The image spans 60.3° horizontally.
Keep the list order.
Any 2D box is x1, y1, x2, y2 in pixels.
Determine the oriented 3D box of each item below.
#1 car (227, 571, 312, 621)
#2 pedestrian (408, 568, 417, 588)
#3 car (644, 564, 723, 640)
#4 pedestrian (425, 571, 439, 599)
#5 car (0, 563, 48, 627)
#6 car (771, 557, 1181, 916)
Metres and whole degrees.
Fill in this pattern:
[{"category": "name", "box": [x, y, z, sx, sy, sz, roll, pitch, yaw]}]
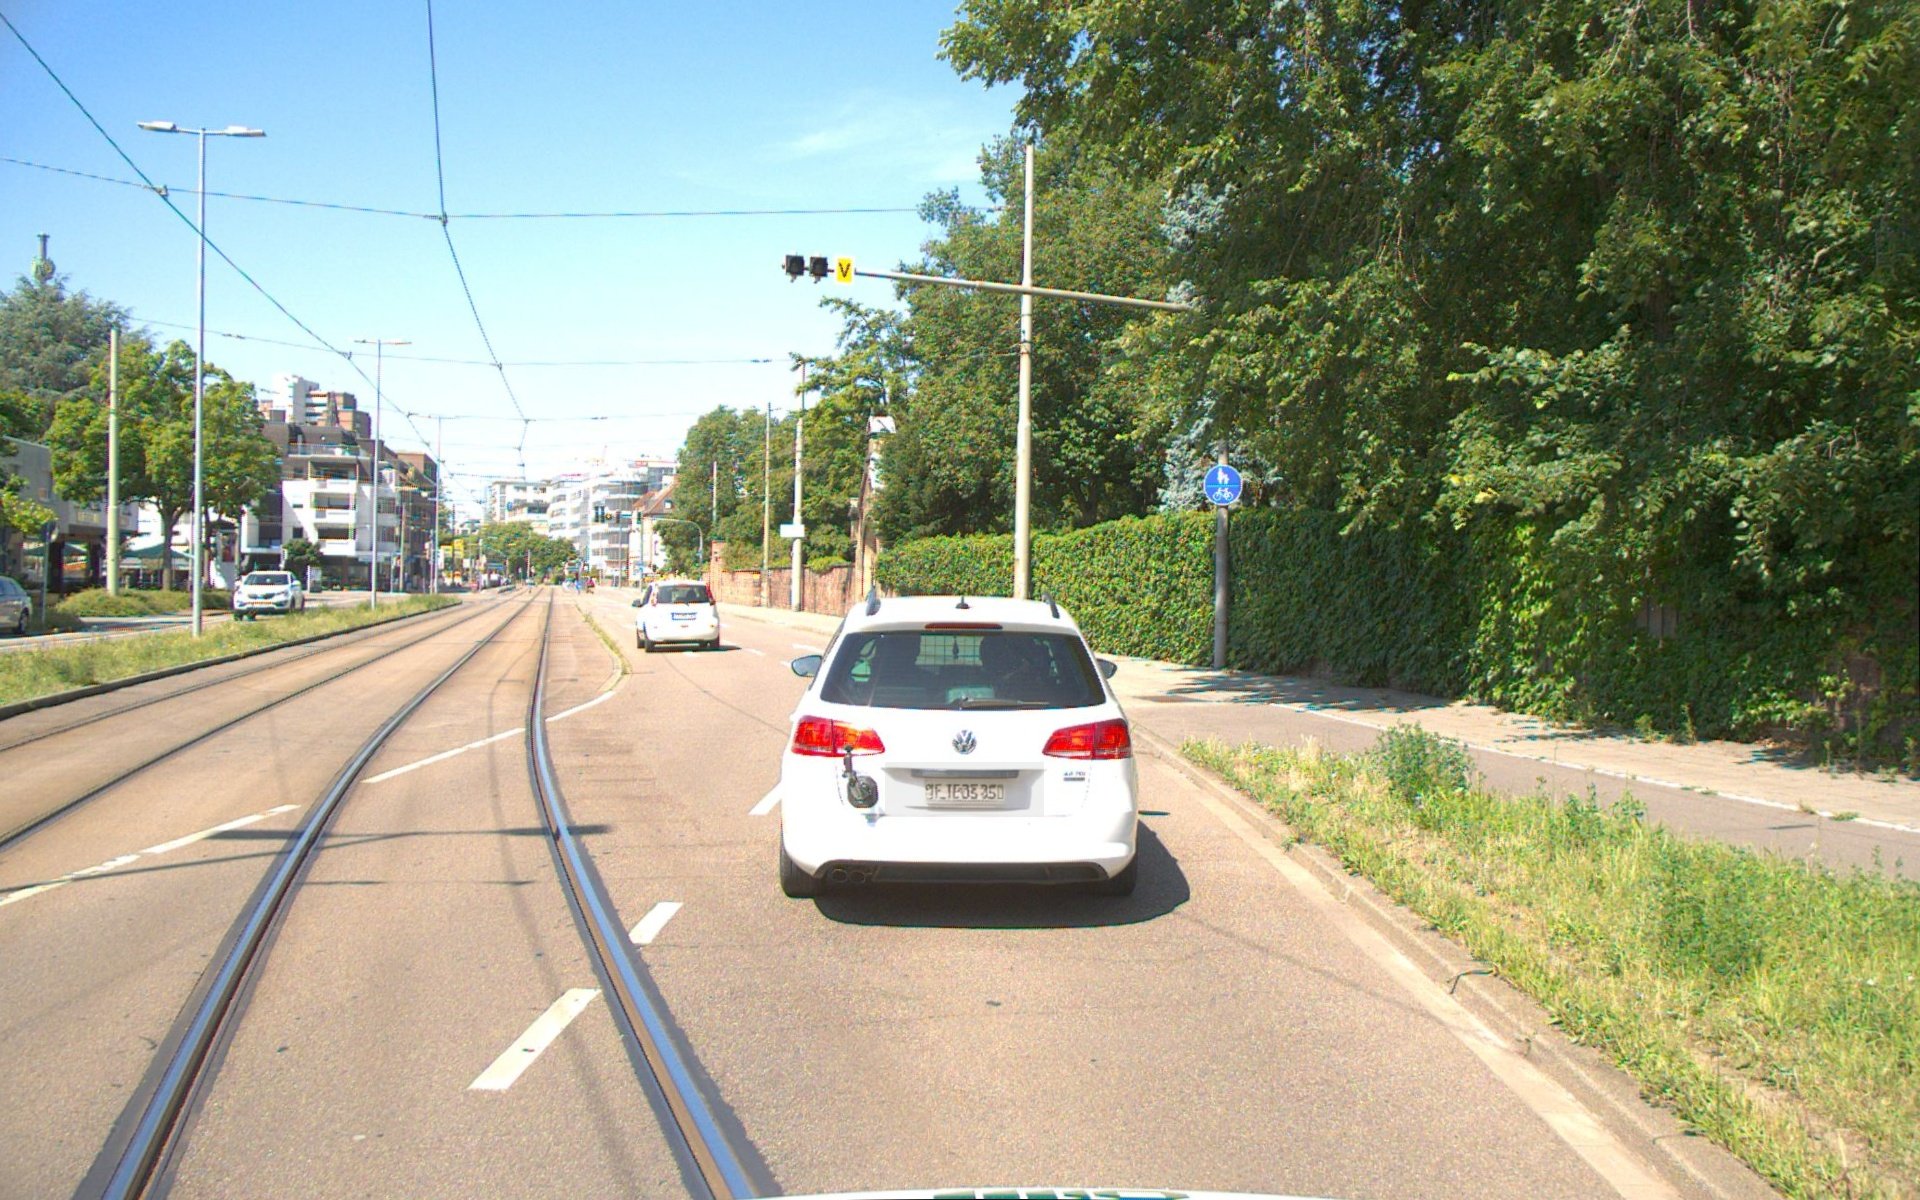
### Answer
[{"category": "car", "box": [-23.470, -0.175, 56.380, 2.009, 1.625, 4.643, 0, 1, -14]}, {"category": "pedestrian", "box": [-55.215, -2.241, 166.785, 0.922, 2.049, 0.985, 0, 1, -19]}, {"category": "car", "box": [-6.306, 0.011, 37.791, 1.699, 1.624, 4.002, 0, 1, -9]}, {"category": "pedestrian", "box": [-33.867, -0.972, 106.092, 0.814, 1.769, 0.926, 0, 1, -22]}, {"category": "car", "box": [-24.507, -0.154, 41.460, 1.576, 1.516, 4.604, 2, 1, -12]}, {"category": "car", "box": [0.010, 0.542, 8.939, 1.743, 1.516, 3.845, 0, 1, -2]}]
